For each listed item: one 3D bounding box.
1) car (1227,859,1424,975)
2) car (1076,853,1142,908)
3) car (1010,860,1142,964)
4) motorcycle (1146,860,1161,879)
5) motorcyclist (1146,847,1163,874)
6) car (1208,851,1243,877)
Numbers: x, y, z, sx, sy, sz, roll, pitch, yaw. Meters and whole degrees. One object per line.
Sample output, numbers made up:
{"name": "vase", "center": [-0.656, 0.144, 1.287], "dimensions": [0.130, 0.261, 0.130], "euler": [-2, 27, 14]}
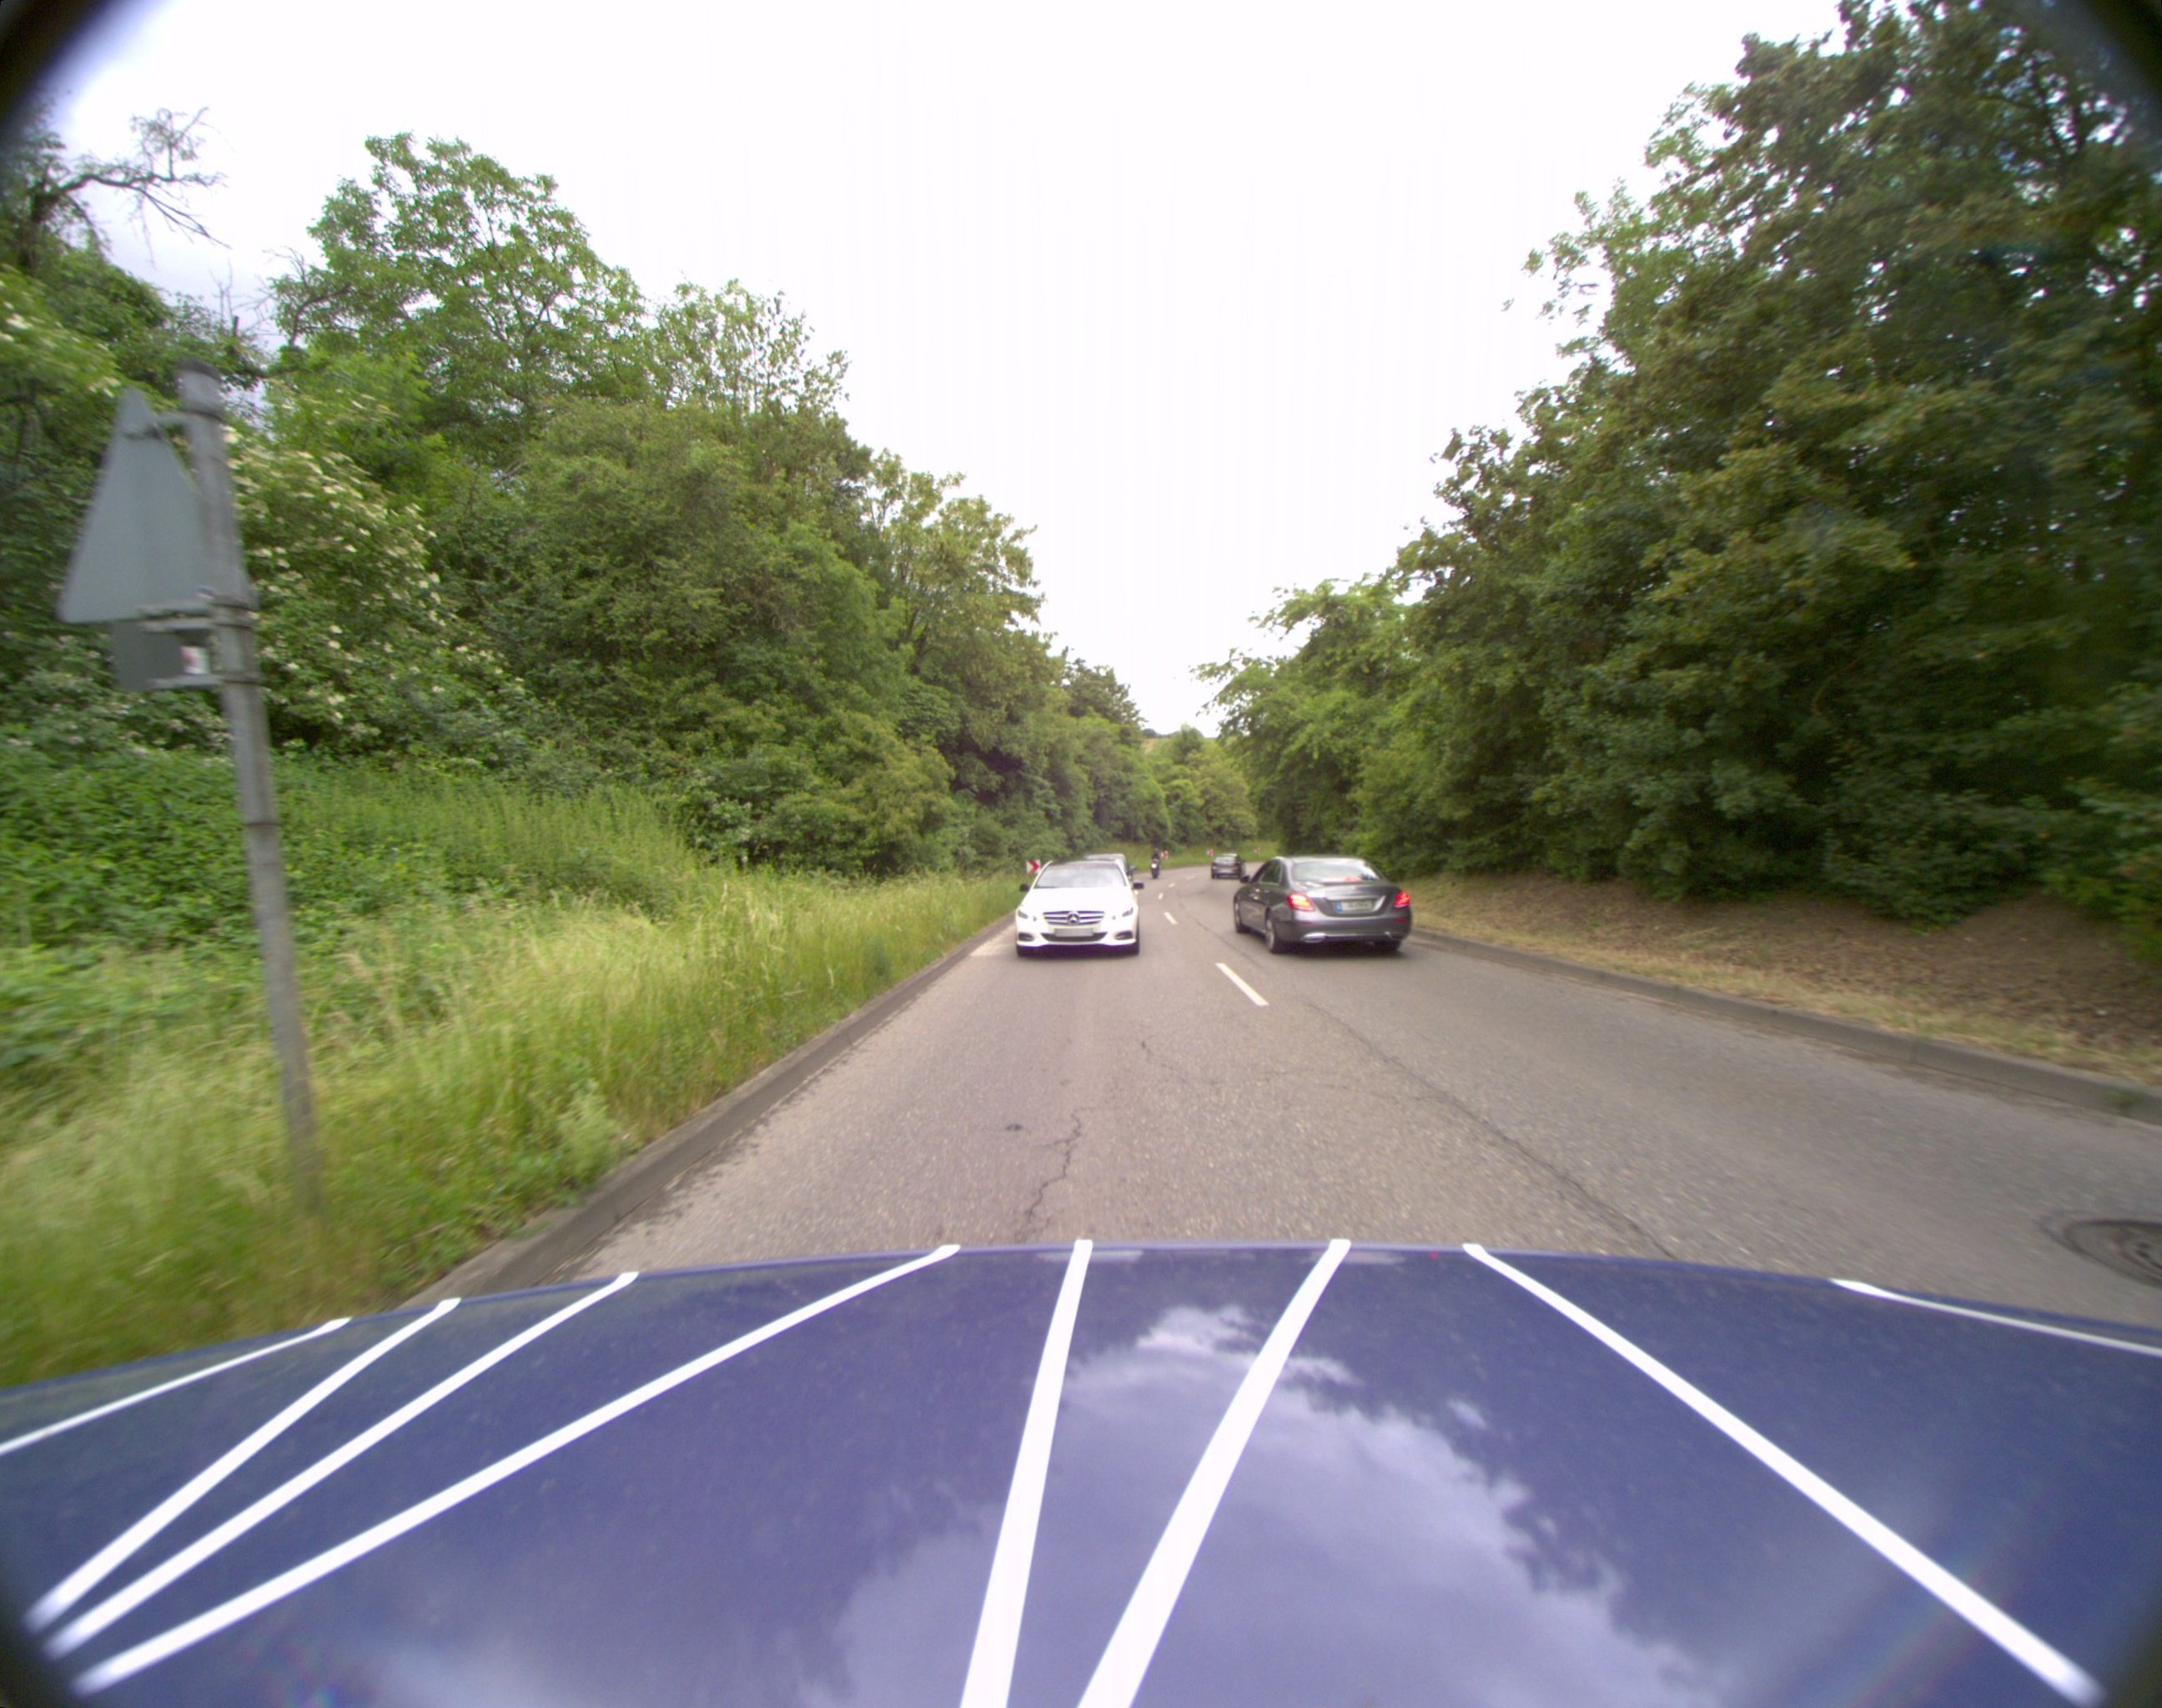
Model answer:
{"name": "car", "center": [3.628, 0.845, 12.161], "dimensions": [1.835, 1.397, 4.432], "euler": [-2, 0, 2]}
{"name": "car", "center": [0.965, 0.776, 24.108], "dimensions": [1.822, 1.535, 3.727], "euler": [-1, 0, 6]}
{"name": "car", "center": [-0.067, 0.866, 13.134], "dimensions": [1.887, 1.414, 4.000], "euler": [-2, 0, 0]}
{"name": "motorcycle", "center": [4.062, 0.831, 42.456], "dimensions": [0.702, 0.970, 1.695], "euler": [1, 2, 10]}
{"name": "motorcyclist", "center": [4.103, 0.351, 42.411], "dimensions": [0.818, 1.457, 0.787], "euler": [2, 2, 10]}
{"name": "car", "center": [8.395, 0.564, 44.335], "dimensions": [1.637, 1.397, 3.598], "euler": [-1, 0, 5]}
